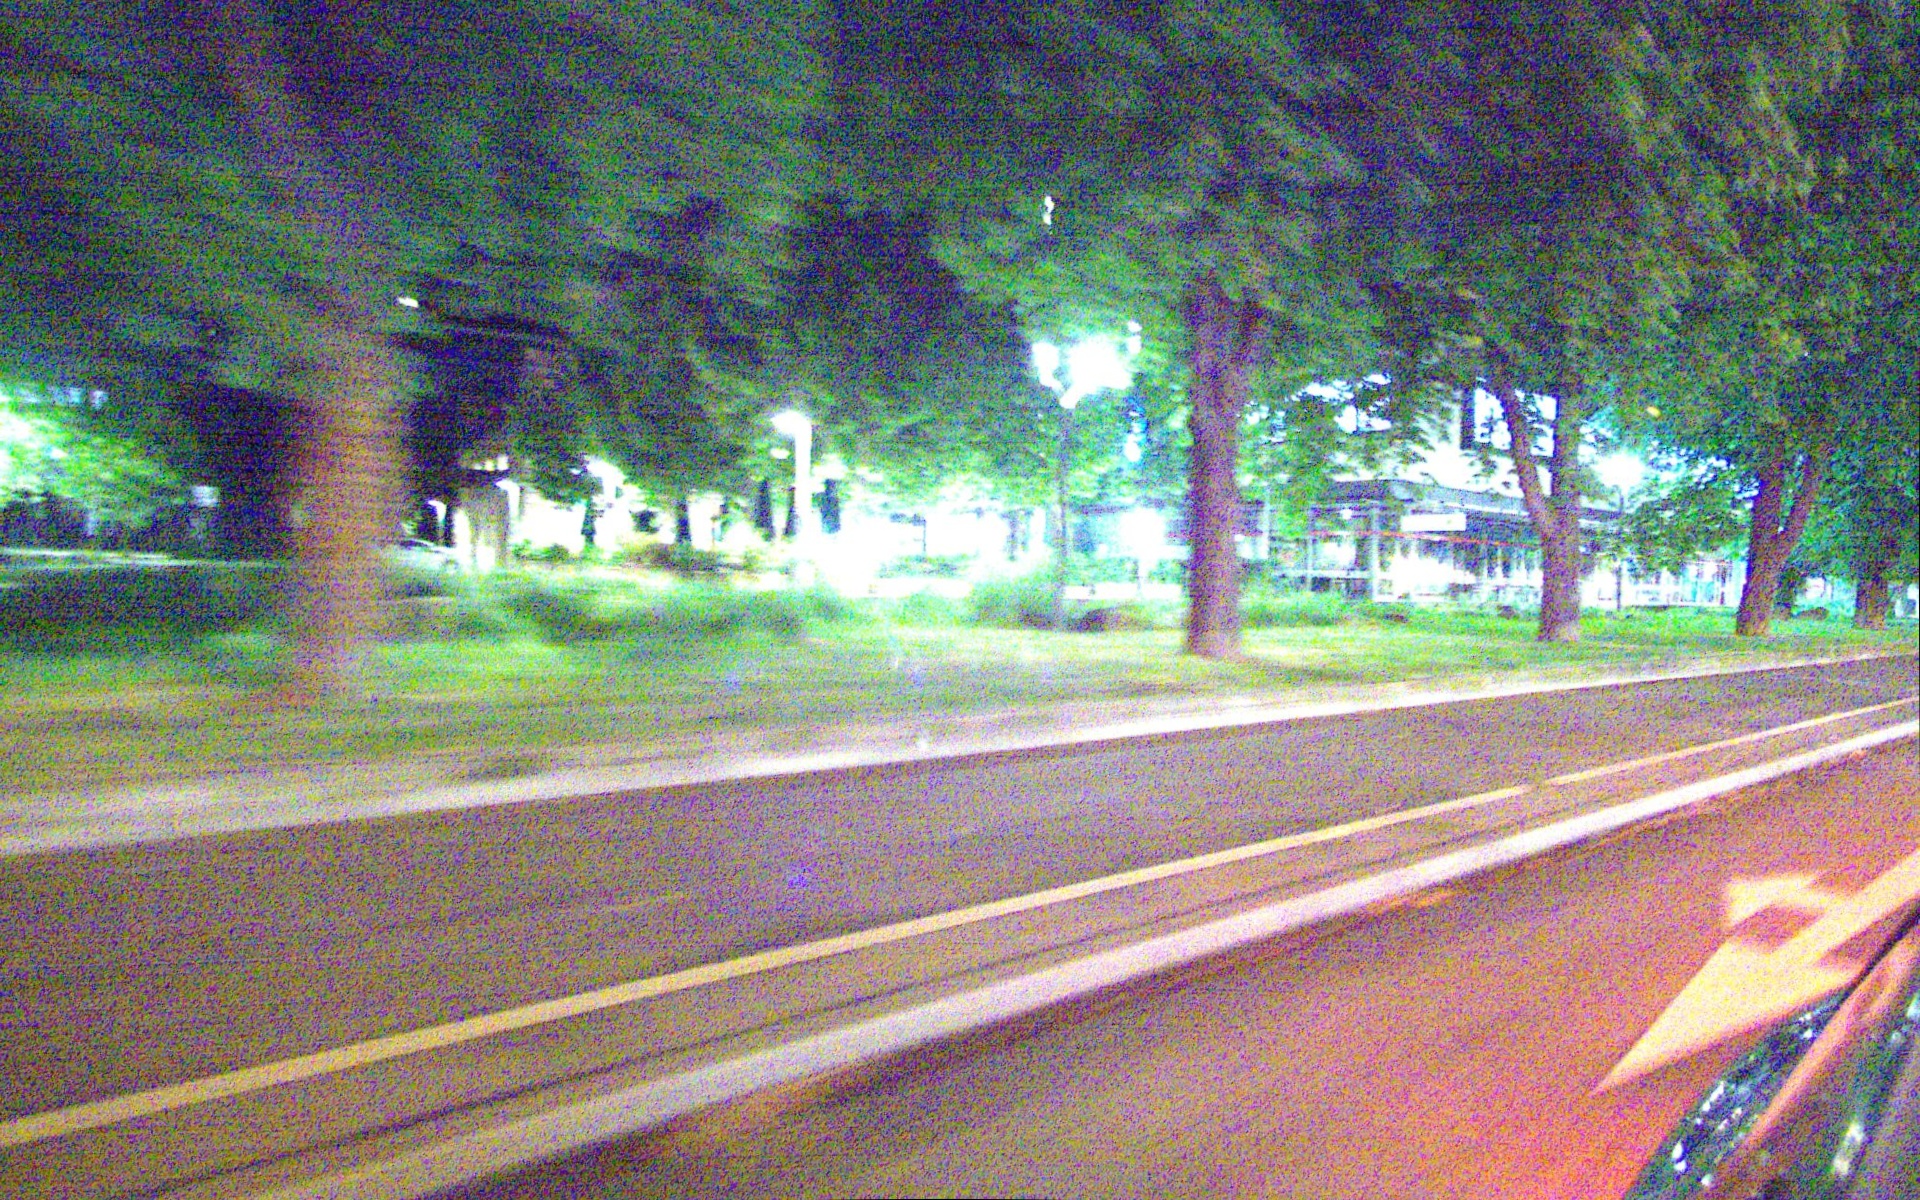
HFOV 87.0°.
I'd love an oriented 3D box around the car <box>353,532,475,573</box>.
[{"bbox_3d":[-22.588,-1.966,41.900,4.221,1.526,2.000,0,3,-37],"label":"car"}]
